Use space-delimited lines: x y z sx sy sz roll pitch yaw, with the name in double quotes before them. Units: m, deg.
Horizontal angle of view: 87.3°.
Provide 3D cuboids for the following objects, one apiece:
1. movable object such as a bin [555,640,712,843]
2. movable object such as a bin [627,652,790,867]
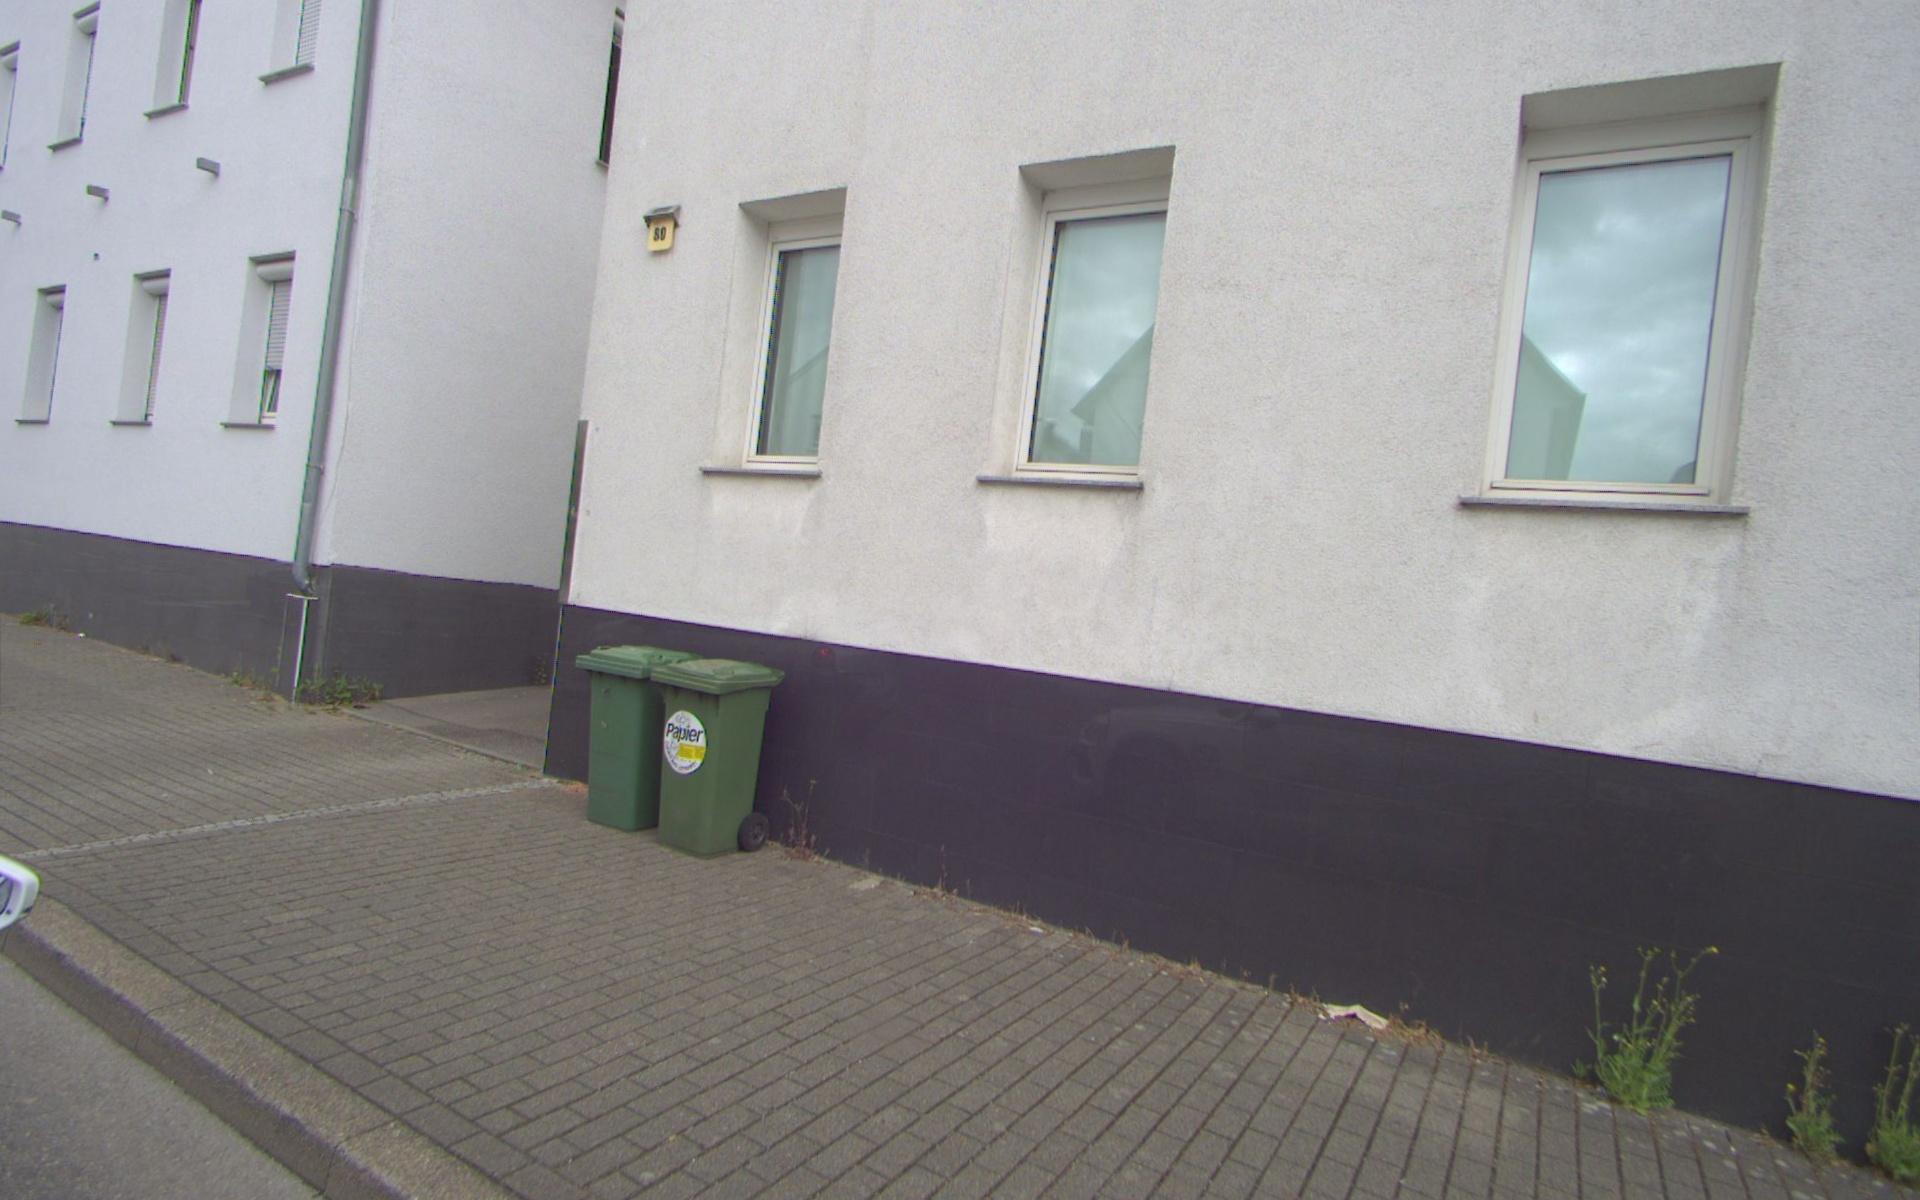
"movable object such as a bin" -1.715 0.713 5.309 0.479 0.953 0.540 7 2 32
"movable object such as a bin" -1.257 0.767 5.052 0.479 0.953 0.540 7 2 32
